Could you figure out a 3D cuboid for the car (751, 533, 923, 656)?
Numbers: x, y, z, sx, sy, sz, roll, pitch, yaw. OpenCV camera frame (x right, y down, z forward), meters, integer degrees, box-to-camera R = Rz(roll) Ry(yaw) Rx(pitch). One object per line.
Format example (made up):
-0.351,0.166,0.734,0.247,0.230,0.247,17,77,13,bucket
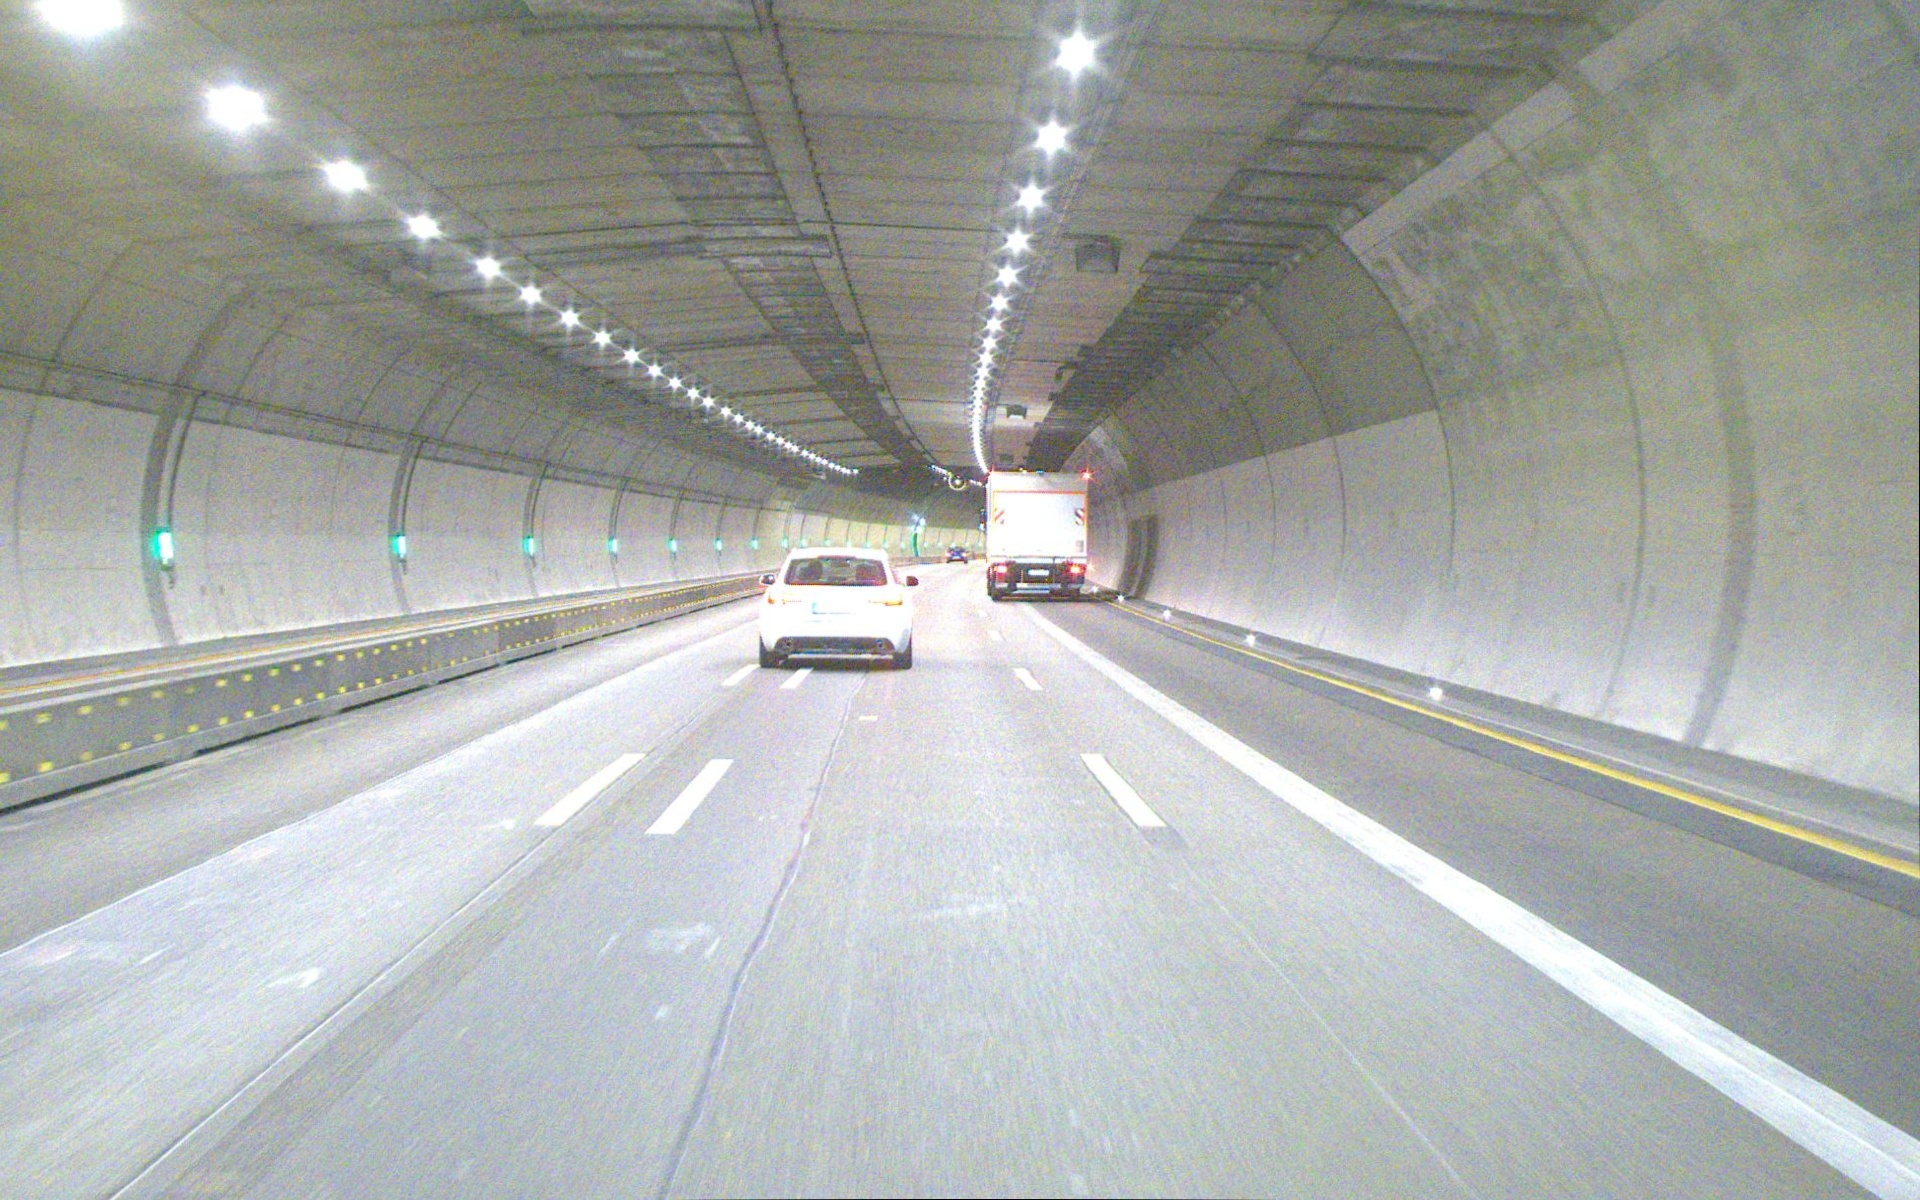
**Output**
-1.492,-0.106,42.540,1.993,1.408,4.743,1,1,-1,car

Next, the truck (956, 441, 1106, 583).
1.846,-2.396,94.782,3.592,3.638,10.723,1,1,-1,truck
